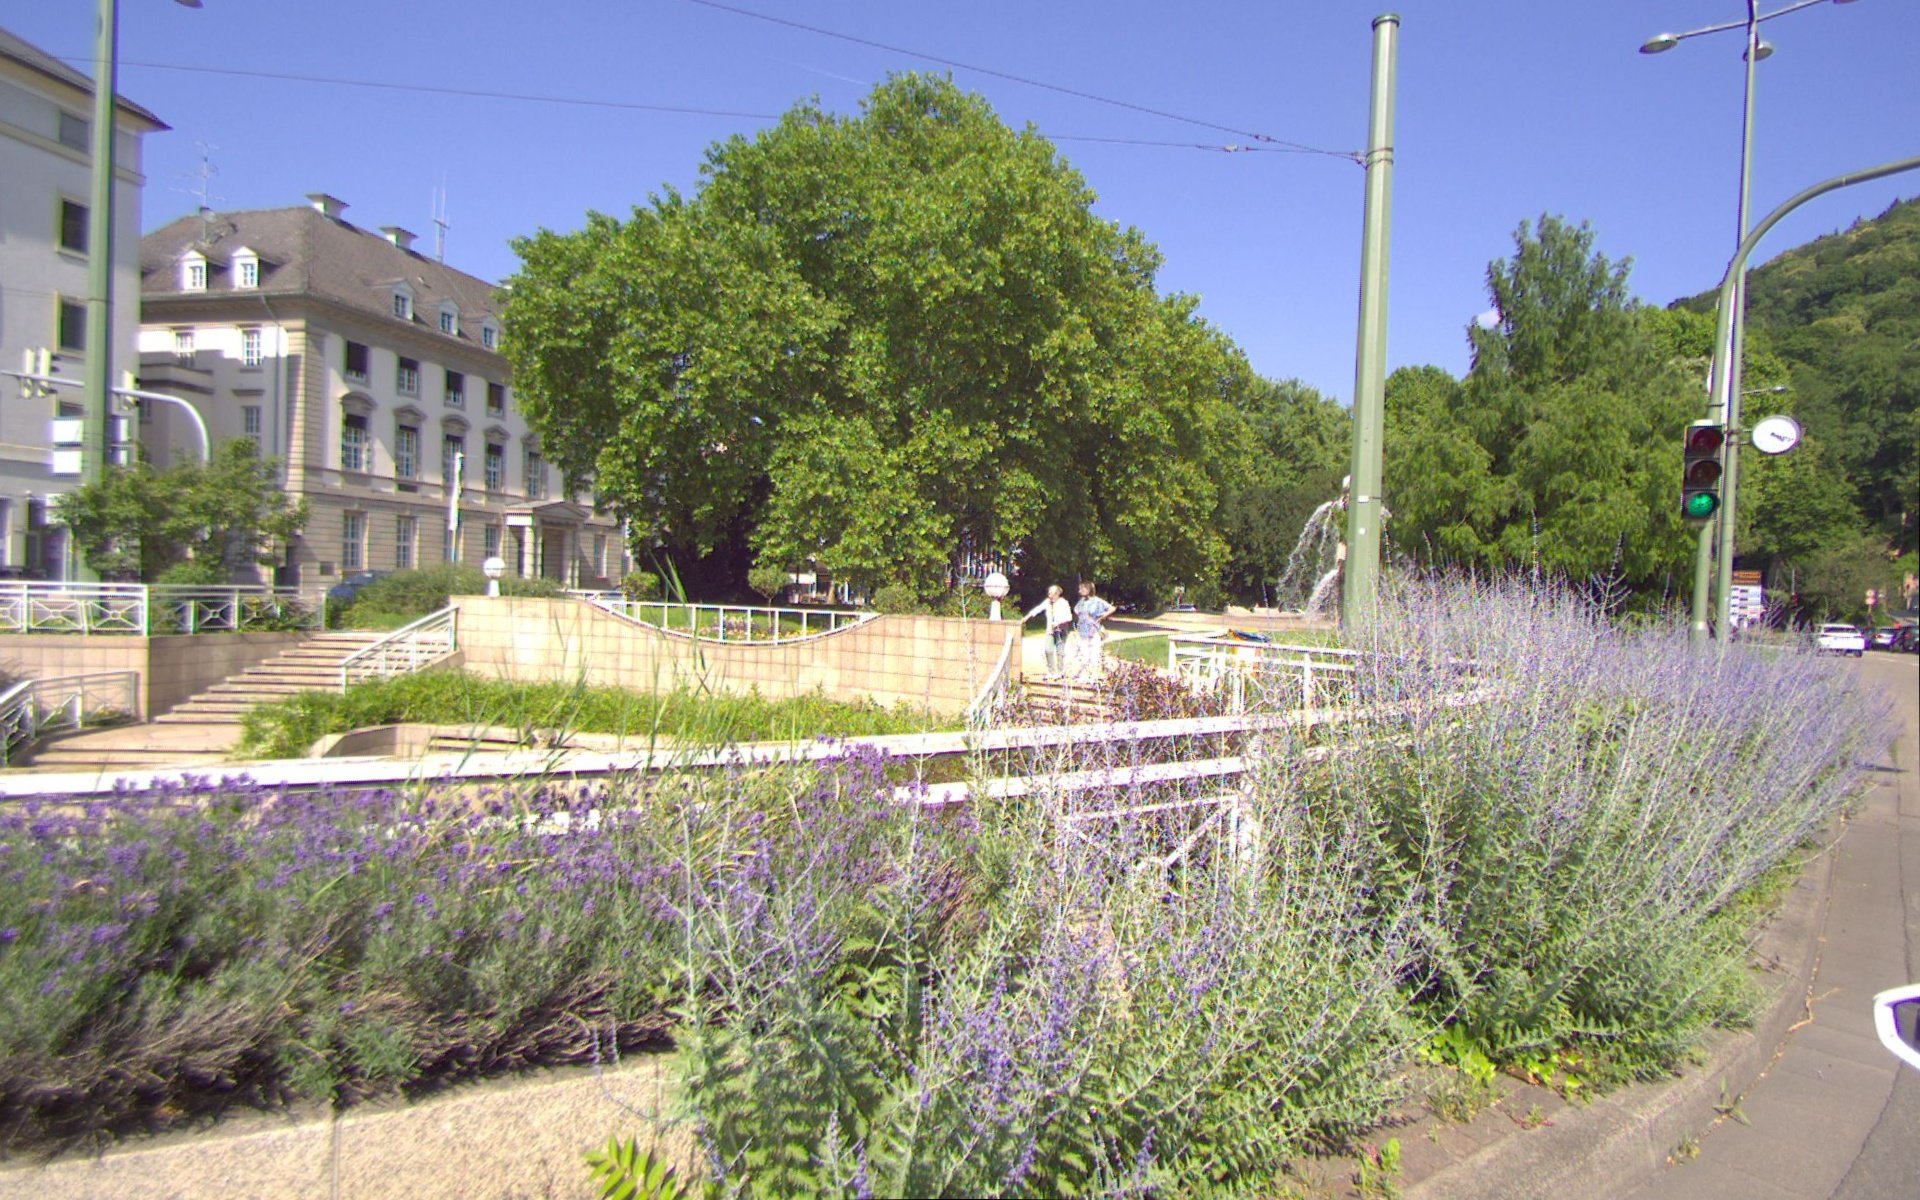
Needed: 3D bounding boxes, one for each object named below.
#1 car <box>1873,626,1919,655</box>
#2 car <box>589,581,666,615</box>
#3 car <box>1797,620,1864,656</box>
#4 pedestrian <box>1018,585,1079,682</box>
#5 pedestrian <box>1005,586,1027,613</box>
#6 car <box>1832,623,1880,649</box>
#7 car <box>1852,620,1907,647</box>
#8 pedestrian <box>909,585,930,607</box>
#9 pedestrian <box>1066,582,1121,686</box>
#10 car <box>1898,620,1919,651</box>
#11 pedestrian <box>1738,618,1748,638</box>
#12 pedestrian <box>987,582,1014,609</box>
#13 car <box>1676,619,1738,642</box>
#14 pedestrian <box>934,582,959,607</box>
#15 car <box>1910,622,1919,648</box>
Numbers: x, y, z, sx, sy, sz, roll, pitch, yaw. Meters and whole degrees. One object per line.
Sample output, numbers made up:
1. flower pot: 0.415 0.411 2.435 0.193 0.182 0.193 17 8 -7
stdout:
1. car: 52.900 2.272 56.439 1.731 1.480 3.485 3 1 32
2. car: -14.759 -0.106 44.773 1.579 1.397 3.586 2 1 13
3. car: 39.918 1.716 46.129 1.817 1.480 3.483 3 1 34
4. pedestrian: 1.448 0.532 16.494 0.835 1.530 0.474 3 1 26
5. pedestrian: 2.664 -0.014 47.706 0.664 1.242 0.749 2 1 -36
6. car: 58.512 2.332 65.641 1.731 1.480 3.485 3 1 32
7. car: 55.492 1.991 60.669 1.731 1.480 3.637 3 1 32
8. pedestrian: -2.438 -0.227 60.138 1.042 1.242 0.753 2 1 -18
9. pedestrian: 2.147 0.530 16.145 0.679 1.614 0.599 3 1 26
10. car: 62.004 2.300 64.635 1.731 1.964 3.485 3 1 32
11. pedestrian: 64.436 2.283 82.672 0.541 1.643 0.631 2 1 42
12. pedestrian: 1.945 -0.219 48.624 1.048 1.242 0.749 2 1 -36
13. car: 52.255 2.120 70.316 1.823 1.483 3.846 2 0 7
14. pedestrian: -0.690 -0.283 52.696 1.048 1.242 0.749 2 1 -36
15. car: 50.143 1.845 51.043 1.730 1.352 3.795 3 1 29
